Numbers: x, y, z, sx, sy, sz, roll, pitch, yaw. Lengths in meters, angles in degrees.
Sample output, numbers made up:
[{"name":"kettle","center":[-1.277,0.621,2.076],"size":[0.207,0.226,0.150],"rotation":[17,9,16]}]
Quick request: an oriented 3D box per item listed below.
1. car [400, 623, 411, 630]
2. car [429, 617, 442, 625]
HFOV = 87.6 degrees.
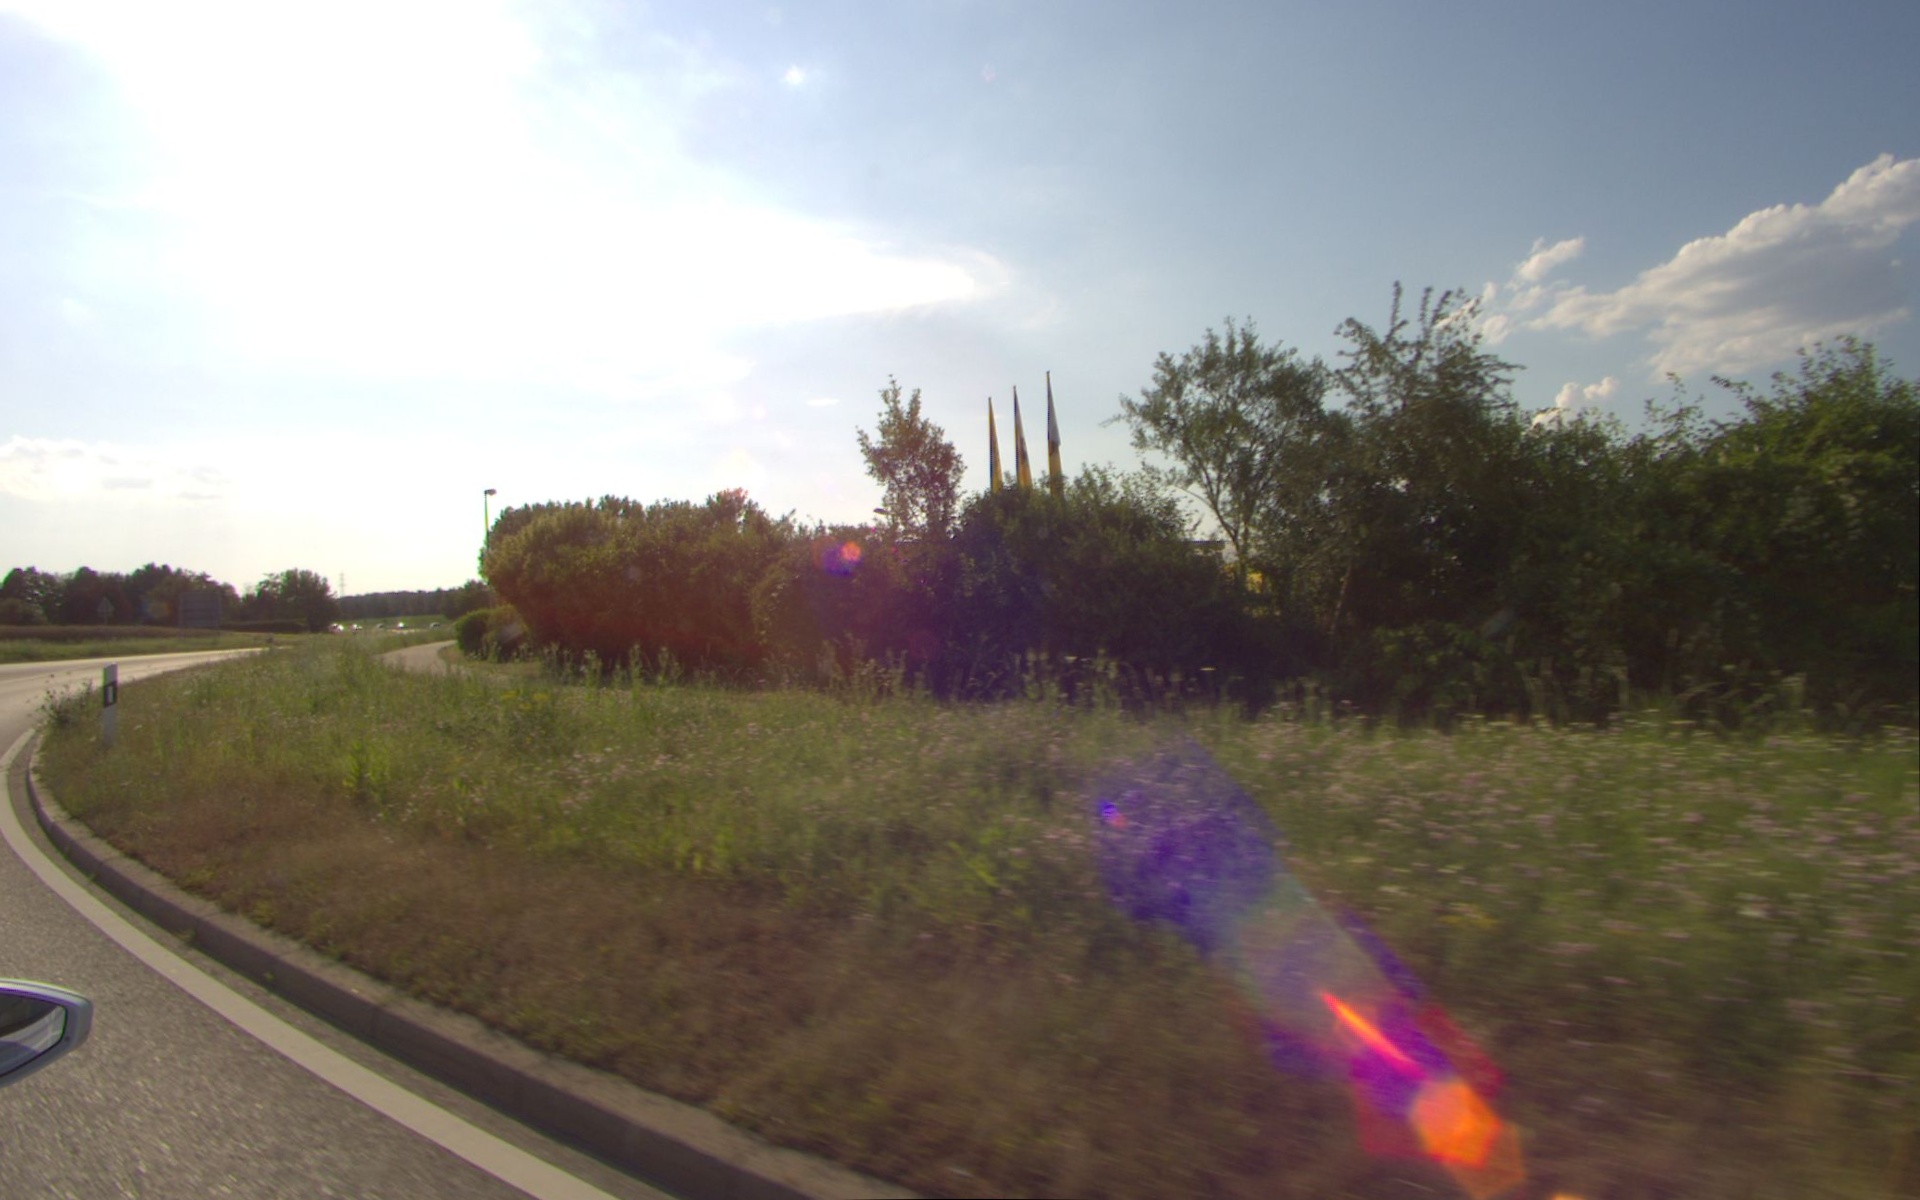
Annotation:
[{"name":"car","center":[-125.330,6.012,226.397],"size":[1.833,1.425,3.353],"rotation":[2,-3,-34]},{"name":"car","center":[-103.259,4.104,197.184],"size":[1.833,1.425,3.621],"rotation":[2,-3,-34]}]
